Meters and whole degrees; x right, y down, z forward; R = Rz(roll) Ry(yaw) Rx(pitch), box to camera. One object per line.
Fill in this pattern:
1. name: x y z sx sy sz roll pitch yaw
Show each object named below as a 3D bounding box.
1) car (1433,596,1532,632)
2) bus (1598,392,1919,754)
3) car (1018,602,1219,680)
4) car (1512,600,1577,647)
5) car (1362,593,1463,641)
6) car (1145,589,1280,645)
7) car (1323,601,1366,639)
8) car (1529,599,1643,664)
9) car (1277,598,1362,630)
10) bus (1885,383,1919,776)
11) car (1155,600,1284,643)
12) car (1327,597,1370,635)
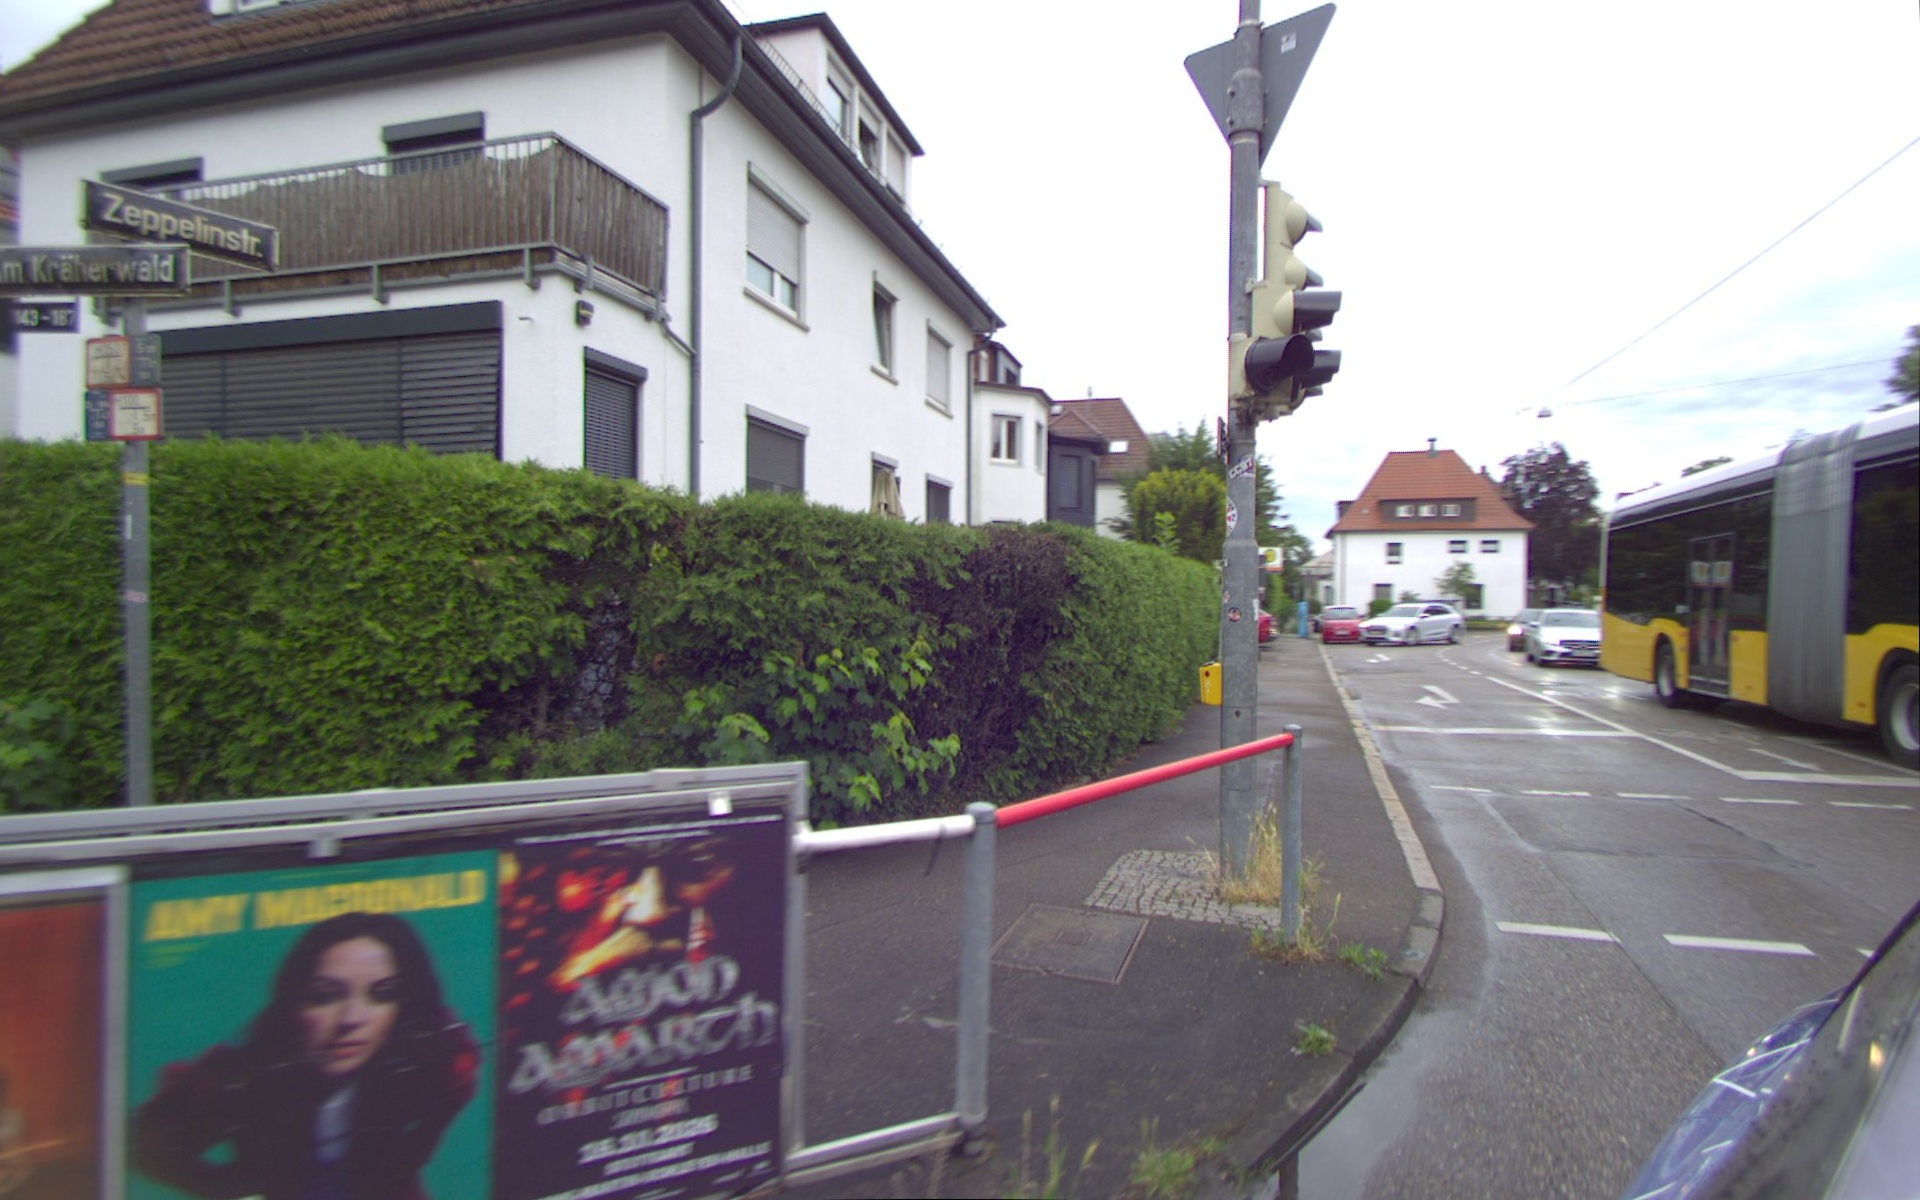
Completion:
1. car: 30.750 0.777 59.655 4.901 1.972 1.912 1 1 41
2. bus: 11.268 -0.242 13.442 2.650 3.441 8.629 1 0 18
3. car: 3.142 0.781 19.996 3.707 1.406 1.606 1 -2 19
4. car: 20.040 0.791 34.820 1.716 1.498 4.001 1 0 28
5. car: 17.479 0.616 39.063 3.816 1.720 1.797 -1 0 -34
6. car: 8.624 0.577 34.796 4.004 1.772 2.002 2 0 -6
7. car: 16.300 0.829 42.850 1.597 1.557 3.514 -1 -1 22
8. car: 15.898 0.755 25.927 1.980 1.498 4.445 1 0 26
9. car: 23.353 0.859 65.907 4.901 1.972 1.912 1 1 41
10. bus: 8.678 -0.174 4.612 2.869 3.441 8.993 1 0 16
11. car: 9.587 0.768 37.569 4.495 1.434 1.991 2 0 15
12. car: 18.739 0.753 48.934 1.727 1.694 4.618 -1 -1 19
